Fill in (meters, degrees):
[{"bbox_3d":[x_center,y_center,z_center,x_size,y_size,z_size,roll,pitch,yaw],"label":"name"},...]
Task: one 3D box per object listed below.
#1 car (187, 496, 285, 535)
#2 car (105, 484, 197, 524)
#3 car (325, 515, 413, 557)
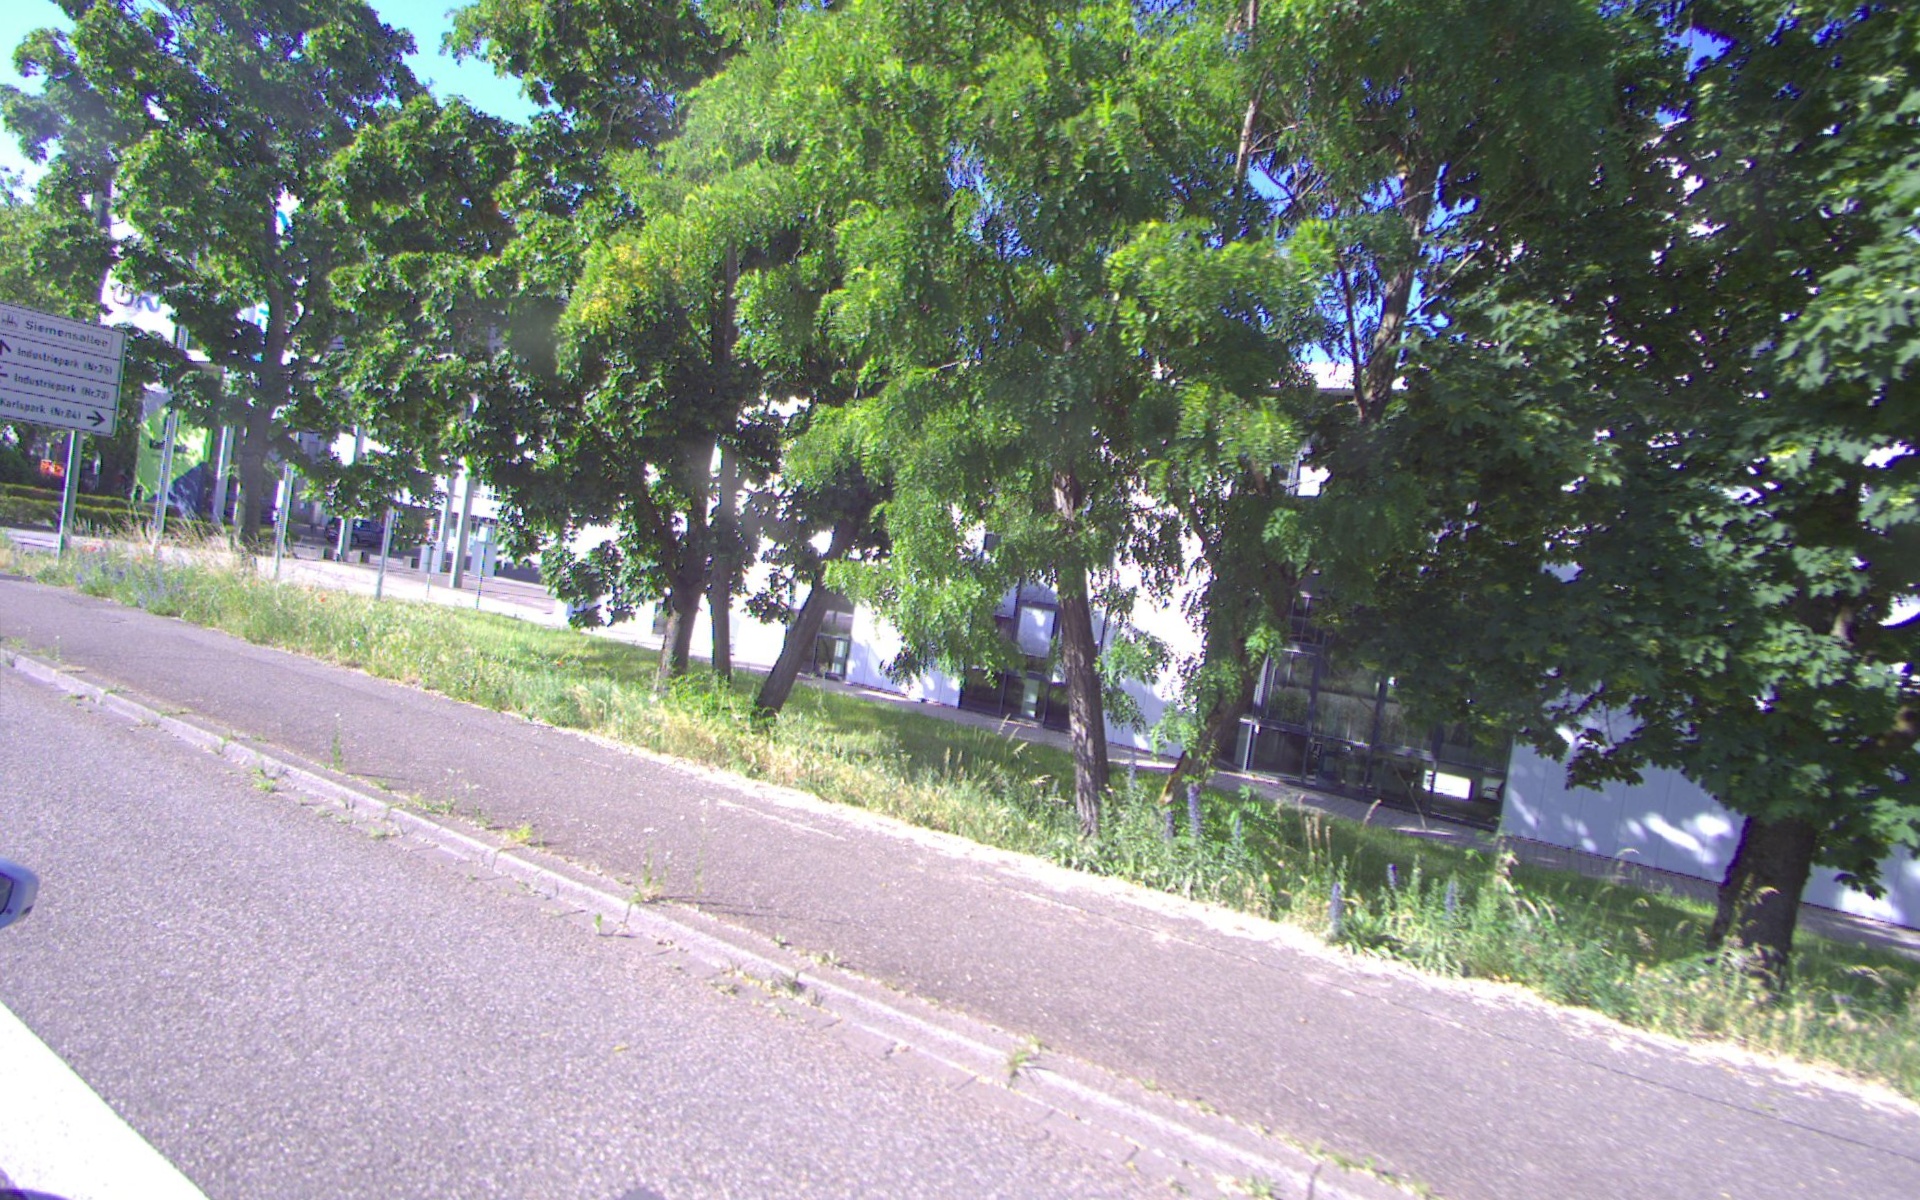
[{"bbox_3d":[-44.730,-5.183,62.256,1.841,1.649,4.553,7,-1,19],"label":"car"},{"bbox_3d":[-51.493,-6.081,64.124,1.963,1.778,4.002,8,-1,19],"label":"car"},{"bbox_3d":[-34.828,-3.756,59.368,1.865,1.741,4.001,8,-1,23],"label":"car"}]
